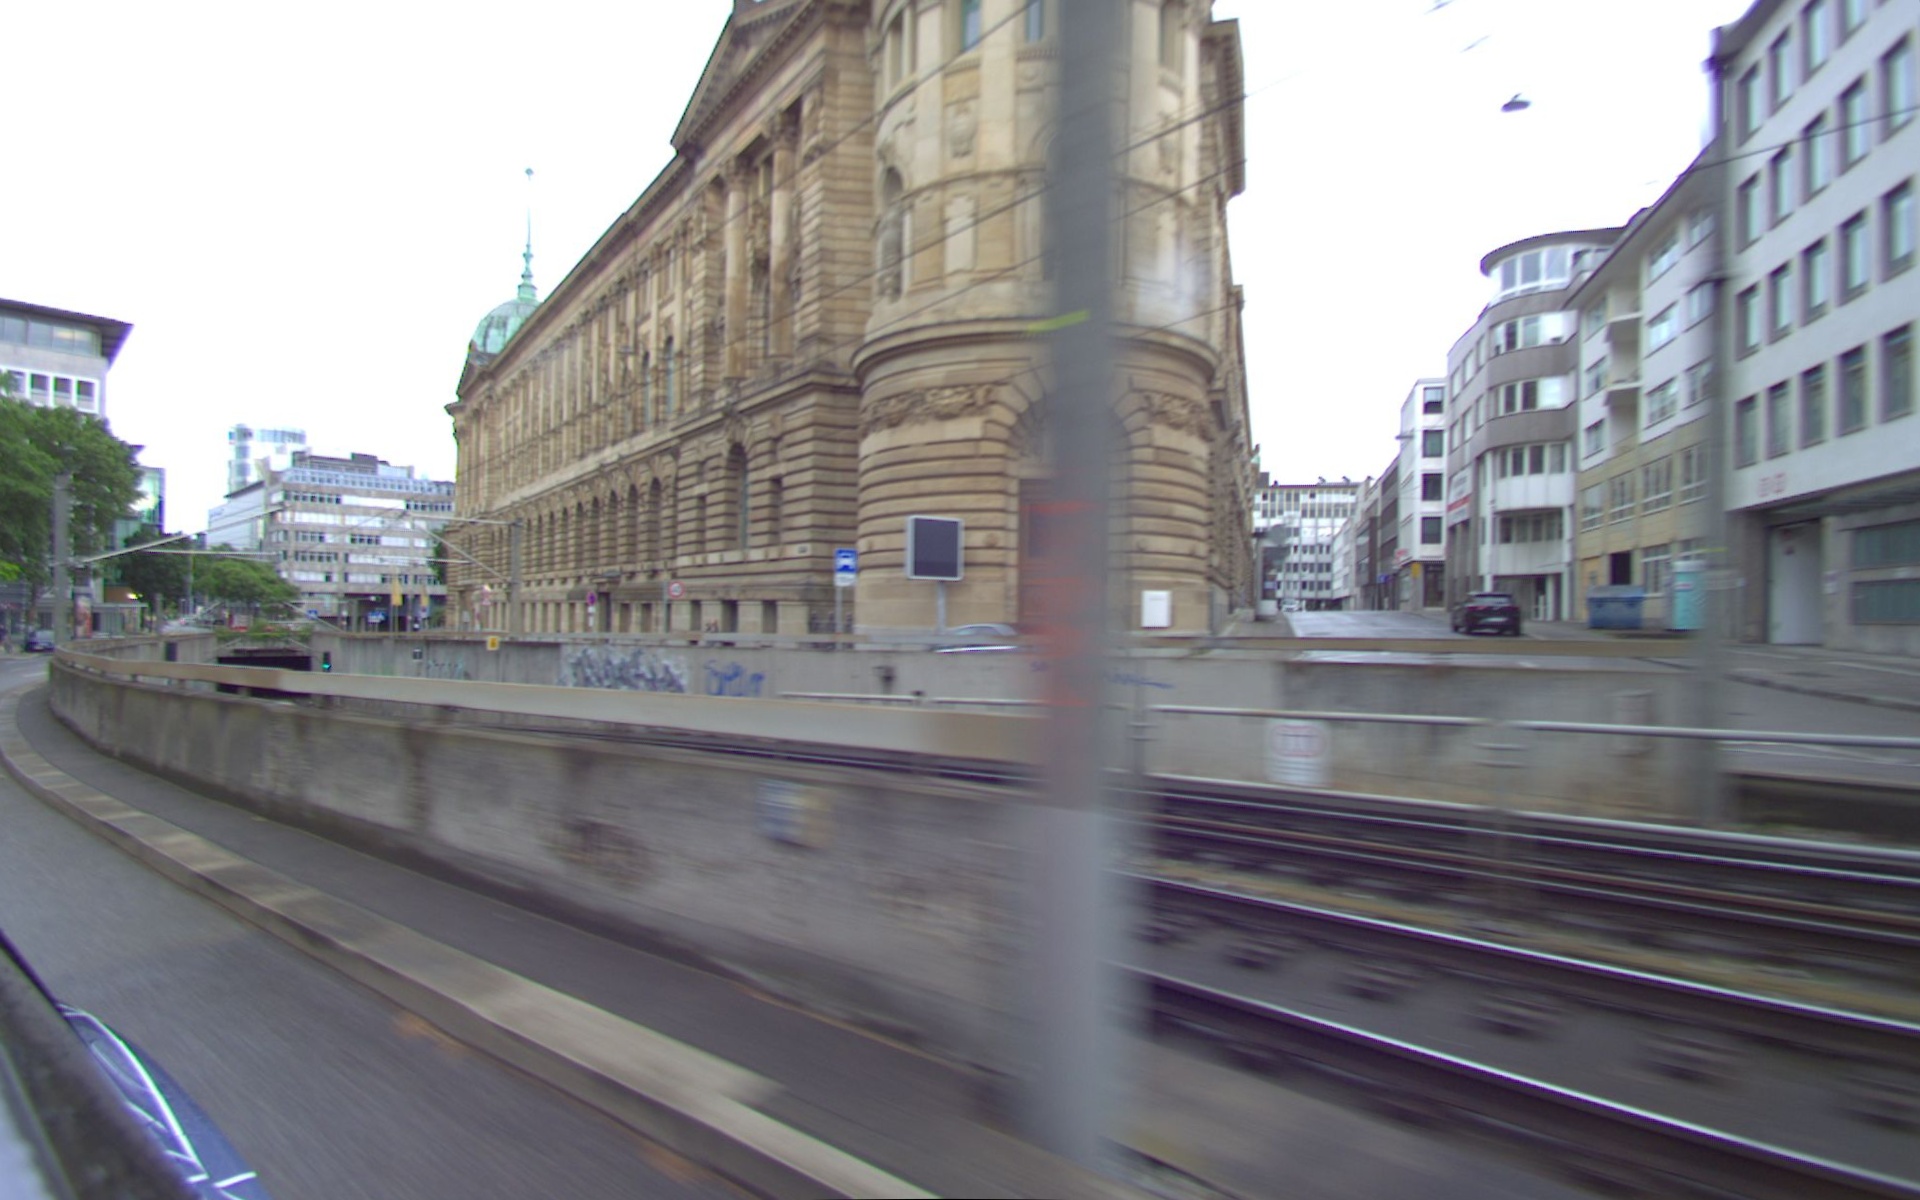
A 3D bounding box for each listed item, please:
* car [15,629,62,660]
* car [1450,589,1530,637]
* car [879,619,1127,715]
[{"bbox_3d":[-59.271,2.816,65.074,4.001,1.829,1.971,-1,0,44],"label":"car"},{"bbox_3d":[19.155,0.437,36.751,1.985,1.652,3.974,-1,0,20],"label":"car"},{"bbox_3d":[0.655,1.057,17.443,1.971,1.397,4.002,-1,0,-45],"label":"car"}]
